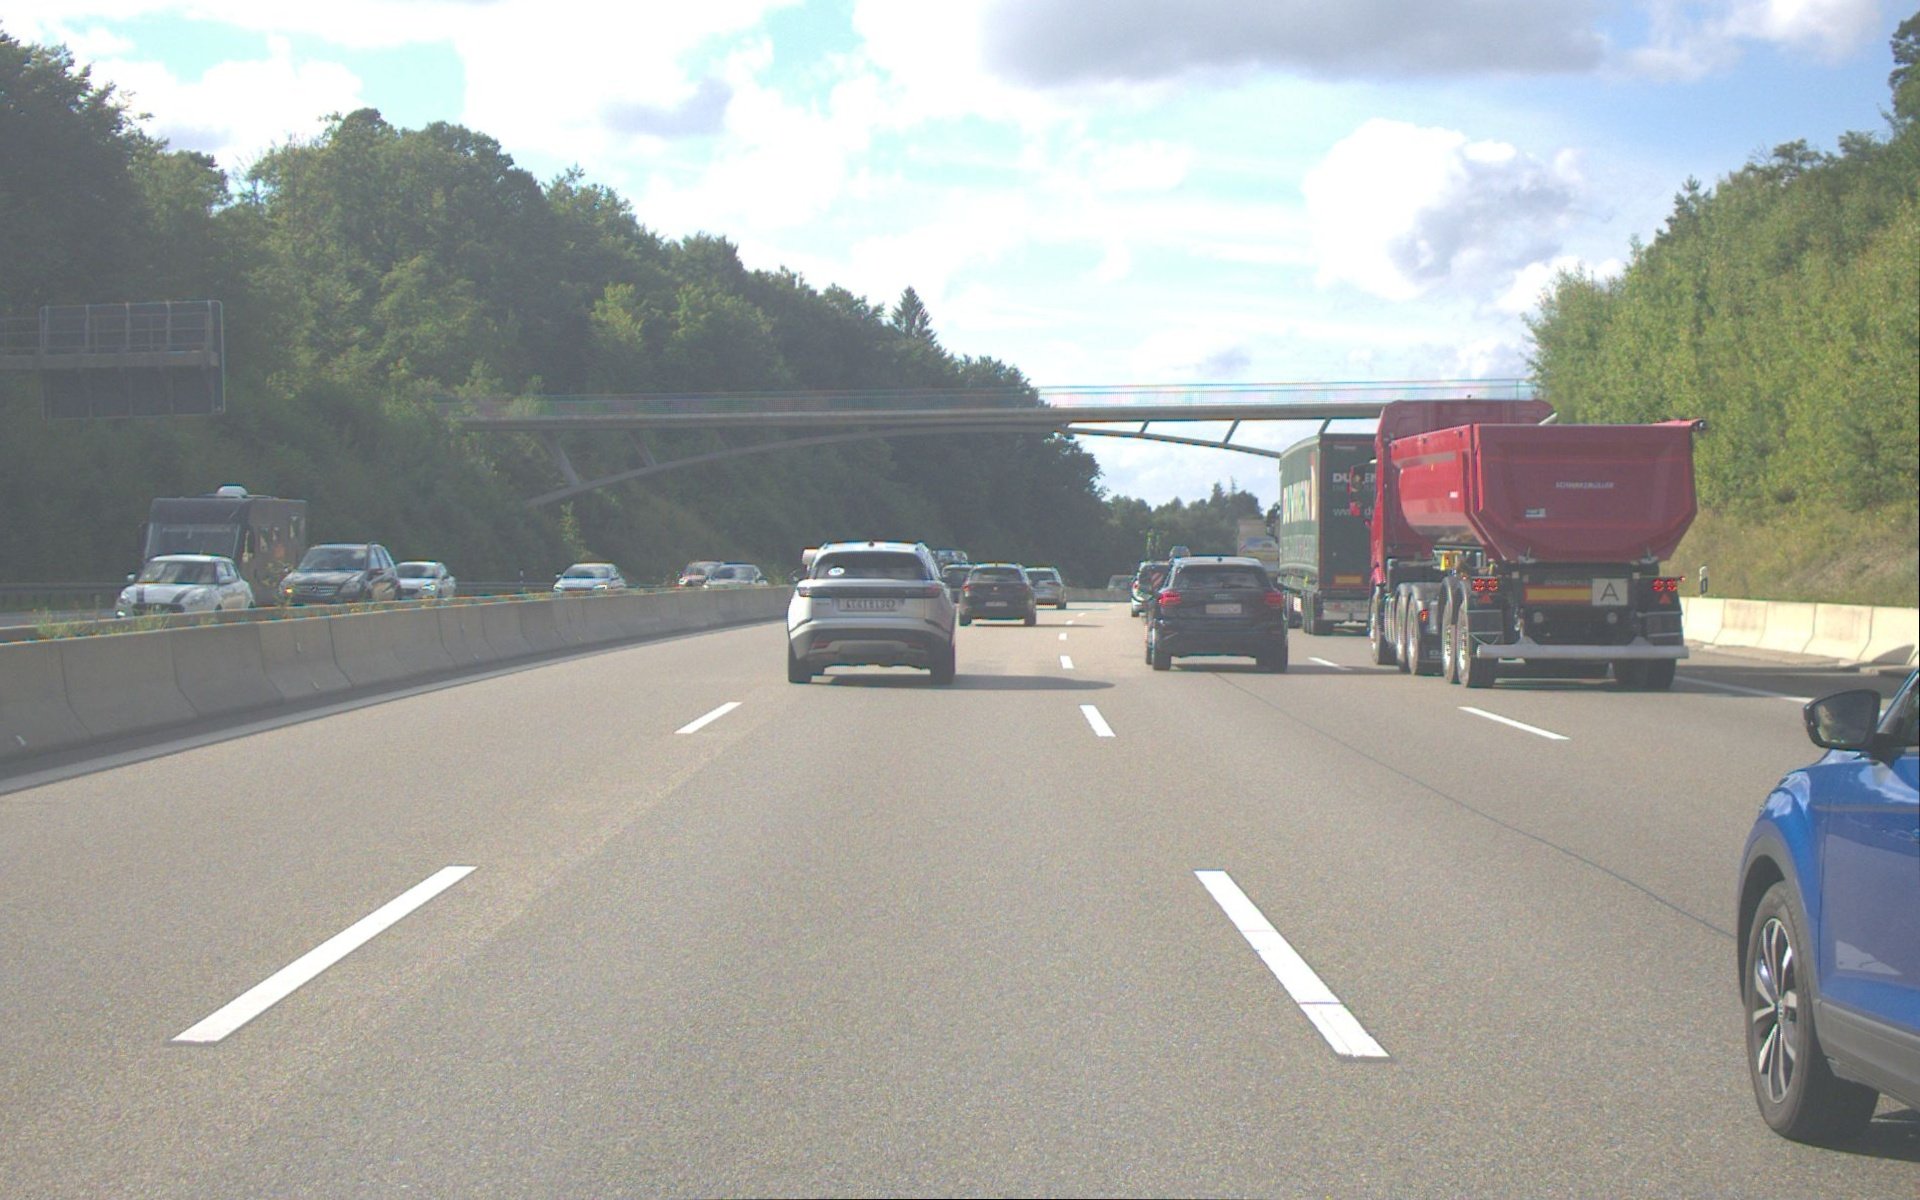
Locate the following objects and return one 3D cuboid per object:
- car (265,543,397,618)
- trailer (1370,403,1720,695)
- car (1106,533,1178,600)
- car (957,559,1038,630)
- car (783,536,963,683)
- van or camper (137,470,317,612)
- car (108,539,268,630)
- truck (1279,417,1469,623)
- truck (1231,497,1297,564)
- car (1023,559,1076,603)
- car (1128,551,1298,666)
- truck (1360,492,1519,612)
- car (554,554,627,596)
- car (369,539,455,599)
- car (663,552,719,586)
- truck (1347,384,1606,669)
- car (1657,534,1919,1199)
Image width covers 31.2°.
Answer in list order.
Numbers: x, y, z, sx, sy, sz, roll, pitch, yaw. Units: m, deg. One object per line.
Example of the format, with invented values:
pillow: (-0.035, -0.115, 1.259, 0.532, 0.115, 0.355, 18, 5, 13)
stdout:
car: (-13.404, -0.444, 73.527, 1.922, 1.534, 4.702, 0, 1, 0)
trailer: (7.069, -0.644, 43.022, 2.710, 3.220, 9.733, 0, 1, 0)
car: (5.092, -0.956, 96.694, 1.894, 1.850, 4.100, 1, 1, 1)
car: (0.888, -0.151, 80.400, 1.822, 1.541, 4.000, 2, 1, 1)
car: (-1.000, 0.056, 41.436, 2.006, 1.610, 5.301, 1, 1, 0)
van or camper: (-16.918, -1.372, 79.798, 2.559, 3.115, 7.334, 0, 1, 0)
car: (-13.533, -0.304, 60.481, 1.815, 1.530, 4.316, 0, 1, 0)
truck: (8.430, -1.626, 71.228, 3.119, 3.921, 10.410, 1, 1, 3)
truck: (13.730, -3.099, 155.212, 2.845, 2.915, 8.384, 1, 1, 5)
car: (3.126, -0.678, 119.933, 1.822, 1.452, 4.000, 1, 1, 1)
car: (3.358, 0.085, 46.331, 1.822, 1.452, 4.001, 0, 1, -2)
truck: (11.467, -1.152, 82.913, 2.711, 2.730, 8.054, 1, 1, 0)
car: (-11.873, -0.829, 110.652, 1.845, 1.292, 4.259, 0, 1, 0)
car: (-16.164, -0.935, 101.533, 1.845, 1.738, 4.259, 0, 1, 0)
car: (-10.513, -1.213, 134.556, 1.845, 1.292, 4.259, 1, 1, 0)
truck: (7.092, -1.011, 47.934, 2.710, 3.706, 5.817, 0, 1, 0)
car: (2.910, 0.627, 7.470, 1.773, 1.525, 4.458, 0, 1, -1)
